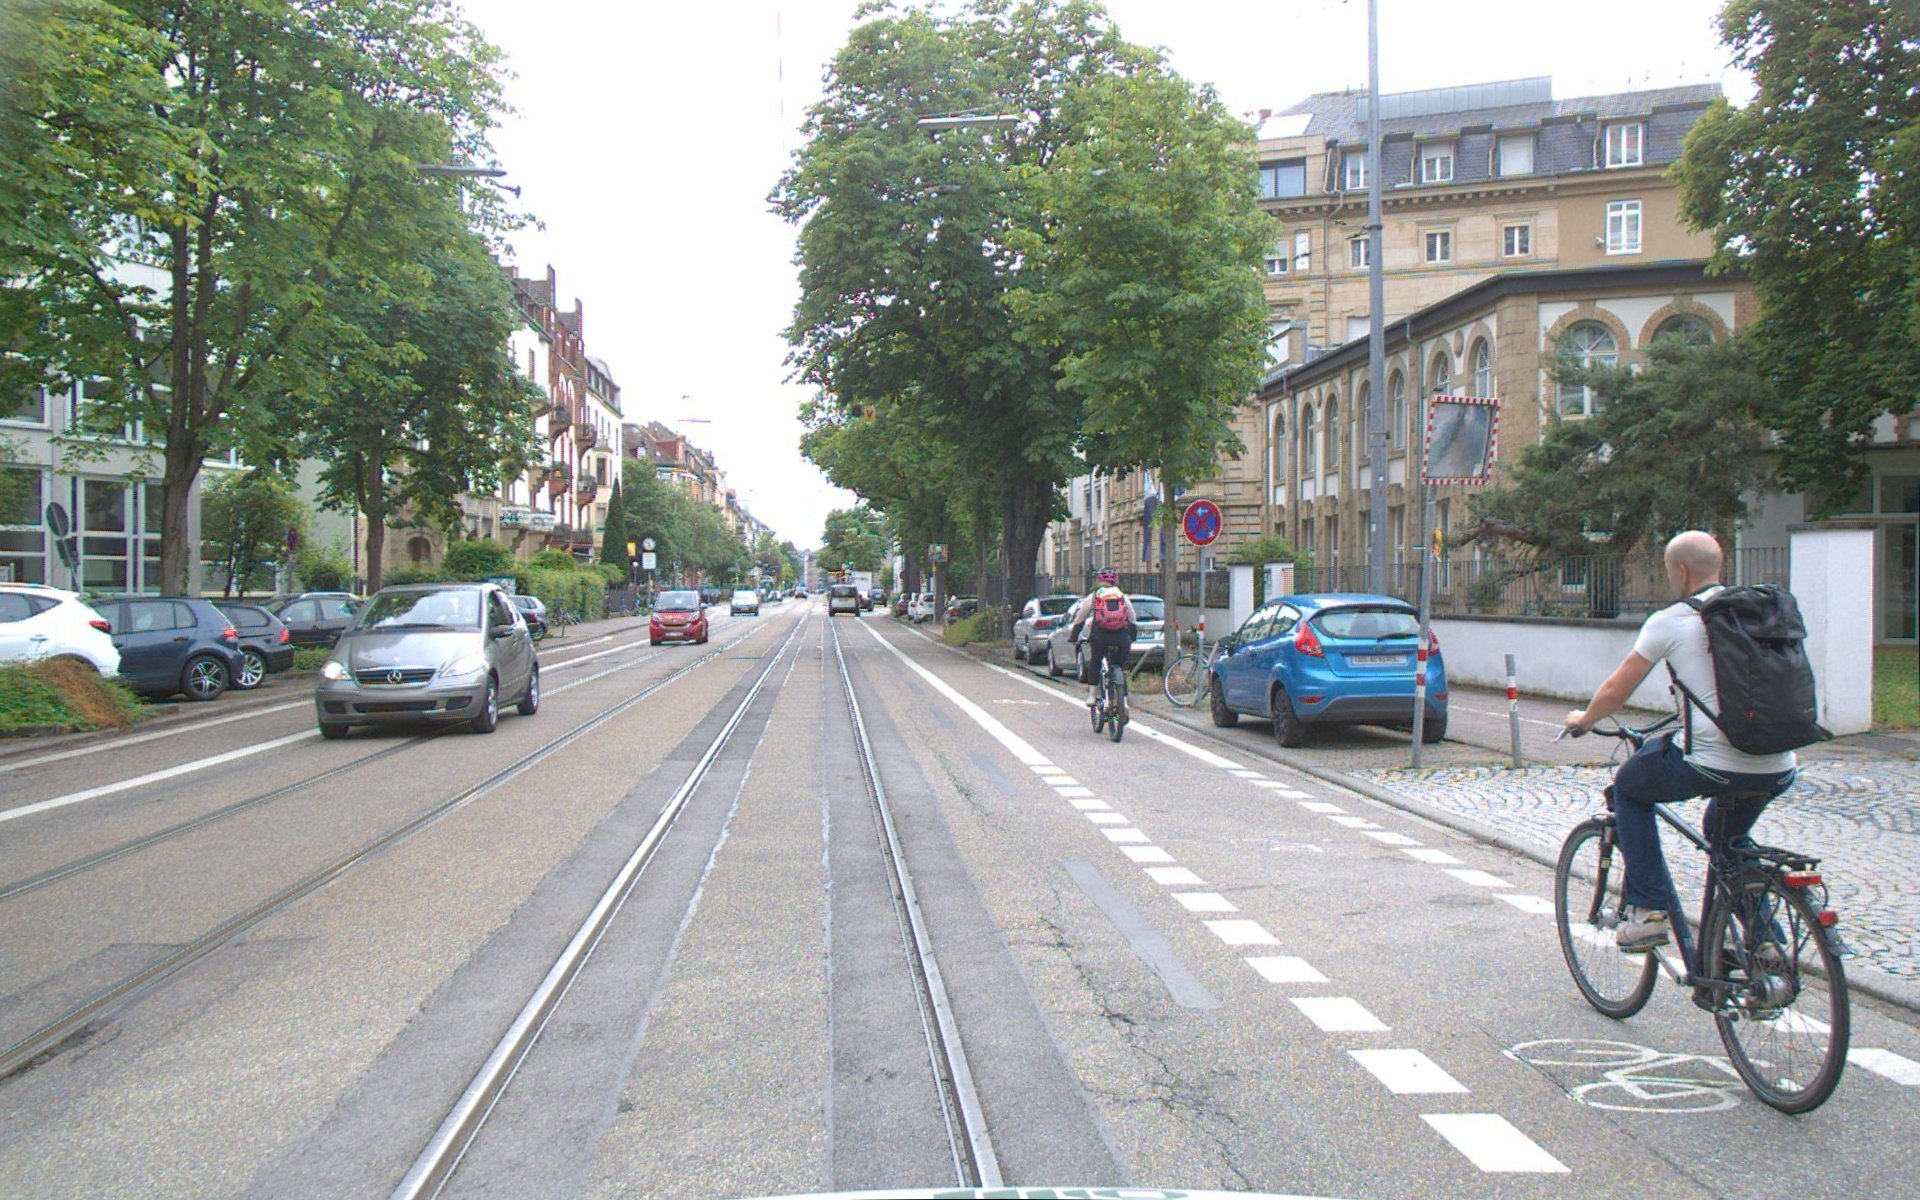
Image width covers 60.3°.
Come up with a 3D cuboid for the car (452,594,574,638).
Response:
[{"bbox_3d":[-14.922,0.542,55.217,3.667,1.410,1.684,1,0,-29],"label":"car"}]

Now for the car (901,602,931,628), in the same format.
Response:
[{"bbox_3d":[-2.627,0.873,97.851,1.734,1.423,3.793,-1,0,-2],"label":"car"}]

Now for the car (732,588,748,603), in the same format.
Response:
[{"bbox_3d":[-31.169,-0.629,234.334,1.783,2.103,3.879,-1,0,-1],"label":"car"}]

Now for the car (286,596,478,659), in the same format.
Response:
[{"bbox_3d":[-13.399,0.617,38.504,1.668,1.375,3.948,1,0,40],"label":"car"}]

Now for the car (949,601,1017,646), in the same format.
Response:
[{"bbox_3d":[0.668,0.691,50.740,1.836,1.273,3.998,-1,0,-2],"label":"car"}]

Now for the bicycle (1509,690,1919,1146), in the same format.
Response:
[{"bbox_3d":[2.453,0.940,5.564,0.650,1.136,1.867,1,0,3],"label":"bicycle"}]

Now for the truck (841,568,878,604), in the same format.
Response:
[{"bbox_3d":[-12.130,-1.683,198.404,3.736,4.100,10.200,-1,0,-8],"label":"truck"}]

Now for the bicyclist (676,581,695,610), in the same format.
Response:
[{"bbox_3d":[-14.466,-0.239,87.183,0.826,1.526,1.026,-1,0,-4],"label":"bicyclist"}]

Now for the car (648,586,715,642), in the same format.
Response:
[{"bbox_3d":[-7.961,0.409,47.397,1.644,1.549,2.779,0,0,-5],"label":"car"}]

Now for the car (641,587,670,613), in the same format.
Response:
[{"bbox_3d":[-27.631,-0.007,150.260,2.134,2.246,4.215,-1,0,-4],"label":"car"}]

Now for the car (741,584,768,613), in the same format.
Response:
[{"bbox_3d":[-18.107,-0.159,145.894,2.162,2.459,3.997,-1,0,-4],"label":"car"}]

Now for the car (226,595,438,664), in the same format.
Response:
[{"bbox_3d":[-13.390,0.602,35.433,1.668,1.375,3.948,1,0,40],"label":"car"}]

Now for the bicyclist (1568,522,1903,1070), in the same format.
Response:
[{"bbox_3d":[2.450,0.568,5.334,0.648,1.597,0.986,0,0,3],"label":"bicyclist"}]

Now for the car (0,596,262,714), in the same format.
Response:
[{"bbox_3d":[-11.995,0.701,22.500,1.668,1.479,4.324,1,0,39],"label":"car"}]

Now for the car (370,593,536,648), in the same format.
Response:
[{"bbox_3d":[-13.348,0.524,43.696,1.668,1.375,3.948,1,0,40],"label":"car"}]

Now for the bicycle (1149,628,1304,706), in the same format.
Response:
[{"bbox_3d":[3.543,0.886,22.045,1.975,0.973,0.533,-1,0,-9],"label":"bicycle"}]

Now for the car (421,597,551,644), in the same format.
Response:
[{"bbox_3d":[-14.921,0.645,52.103,3.667,1.410,1.684,1,0,-29],"label":"car"}]

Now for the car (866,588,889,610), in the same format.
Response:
[{"bbox_3d":[-7.966,-0.113,159.225,1.955,2.049,3.995,-1,0,-6],"label":"car"}]

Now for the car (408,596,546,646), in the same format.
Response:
[{"bbox_3d":[-14.347,0.635,49.162,3.667,1.410,1.684,1,0,-29],"label":"car"}]

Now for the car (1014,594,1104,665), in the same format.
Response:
[{"bbox_3d":[2.134,0.607,36.294,1.447,1.453,3.561,-1,0,-5],"label":"car"}]

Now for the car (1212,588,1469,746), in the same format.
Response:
[{"bbox_3d":[3.854,0.621,17.309,1.641,1.486,3.429,0,0,-5],"label":"car"}]

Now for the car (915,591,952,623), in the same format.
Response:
[{"bbox_3d":[-1.255,0.321,77.698,1.633,1.423,3.659,-1,0,-2],"label":"car"}]

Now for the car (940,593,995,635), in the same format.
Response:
[{"bbox_3d":[0.227,0.482,58.781,1.755,1.423,3.793,-1,0,-2],"label":"car"}]

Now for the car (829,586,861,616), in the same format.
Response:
[{"bbox_3d":[-6.850,0.086,98.620,1.775,1.738,3.697,0,0,-2],"label":"car"}]

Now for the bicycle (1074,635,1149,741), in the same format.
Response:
[{"bbox_3d":[1.565,0.894,17.357,0.480,0.997,2.056,1,0,-3],"label":"bicycle"}]

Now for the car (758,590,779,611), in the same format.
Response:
[{"bbox_3d":[-21.977,0.063,190.055,2.162,2.295,3.996,-1,0,-5],"label":"car"}]

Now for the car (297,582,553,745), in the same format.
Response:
[{"bbox_3d":[-5.790,0.619,18.369,1.863,1.557,3.750,-2,0,-5],"label":"car"}]

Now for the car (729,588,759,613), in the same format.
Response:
[{"bbox_3d":[-13.034,0.034,100.023,1.708,1.454,3.994,-1,0,-7],"label":"car"}]

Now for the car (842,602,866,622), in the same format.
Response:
[{"bbox_3d":[-8.098,0.898,126.924,1.734,1.423,3.793,-1,0,-2],"label":"car"}]

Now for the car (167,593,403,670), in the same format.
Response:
[{"bbox_3d":[-13.055,0.589,32.175,1.668,1.375,3.948,1,0,40],"label":"car"}]

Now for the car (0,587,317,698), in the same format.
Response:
[{"bbox_3d":[-12.464,0.612,25.735,1.668,1.562,4.324,1,0,39],"label":"car"}]

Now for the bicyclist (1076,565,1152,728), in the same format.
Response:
[{"bbox_3d":[1.588,0.467,17.134,0.645,1.638,0.919,0,0,-3],"label":"bicyclist"}]

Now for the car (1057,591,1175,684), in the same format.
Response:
[{"bbox_3d":[2.687,0.614,29.122,1.447,1.507,3.561,0,0,-5],"label":"car"}]

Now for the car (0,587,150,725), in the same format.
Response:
[{"bbox_3d":[-11.967,0.633,19.219,1.666,1.583,4.330,1,0,36],"label":"car"}]

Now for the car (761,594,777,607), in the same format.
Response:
[{"bbox_3d":[-24.937,0.007,216.094,1.736,1.672,3.565,-1,0,-1],"label":"car"}]
